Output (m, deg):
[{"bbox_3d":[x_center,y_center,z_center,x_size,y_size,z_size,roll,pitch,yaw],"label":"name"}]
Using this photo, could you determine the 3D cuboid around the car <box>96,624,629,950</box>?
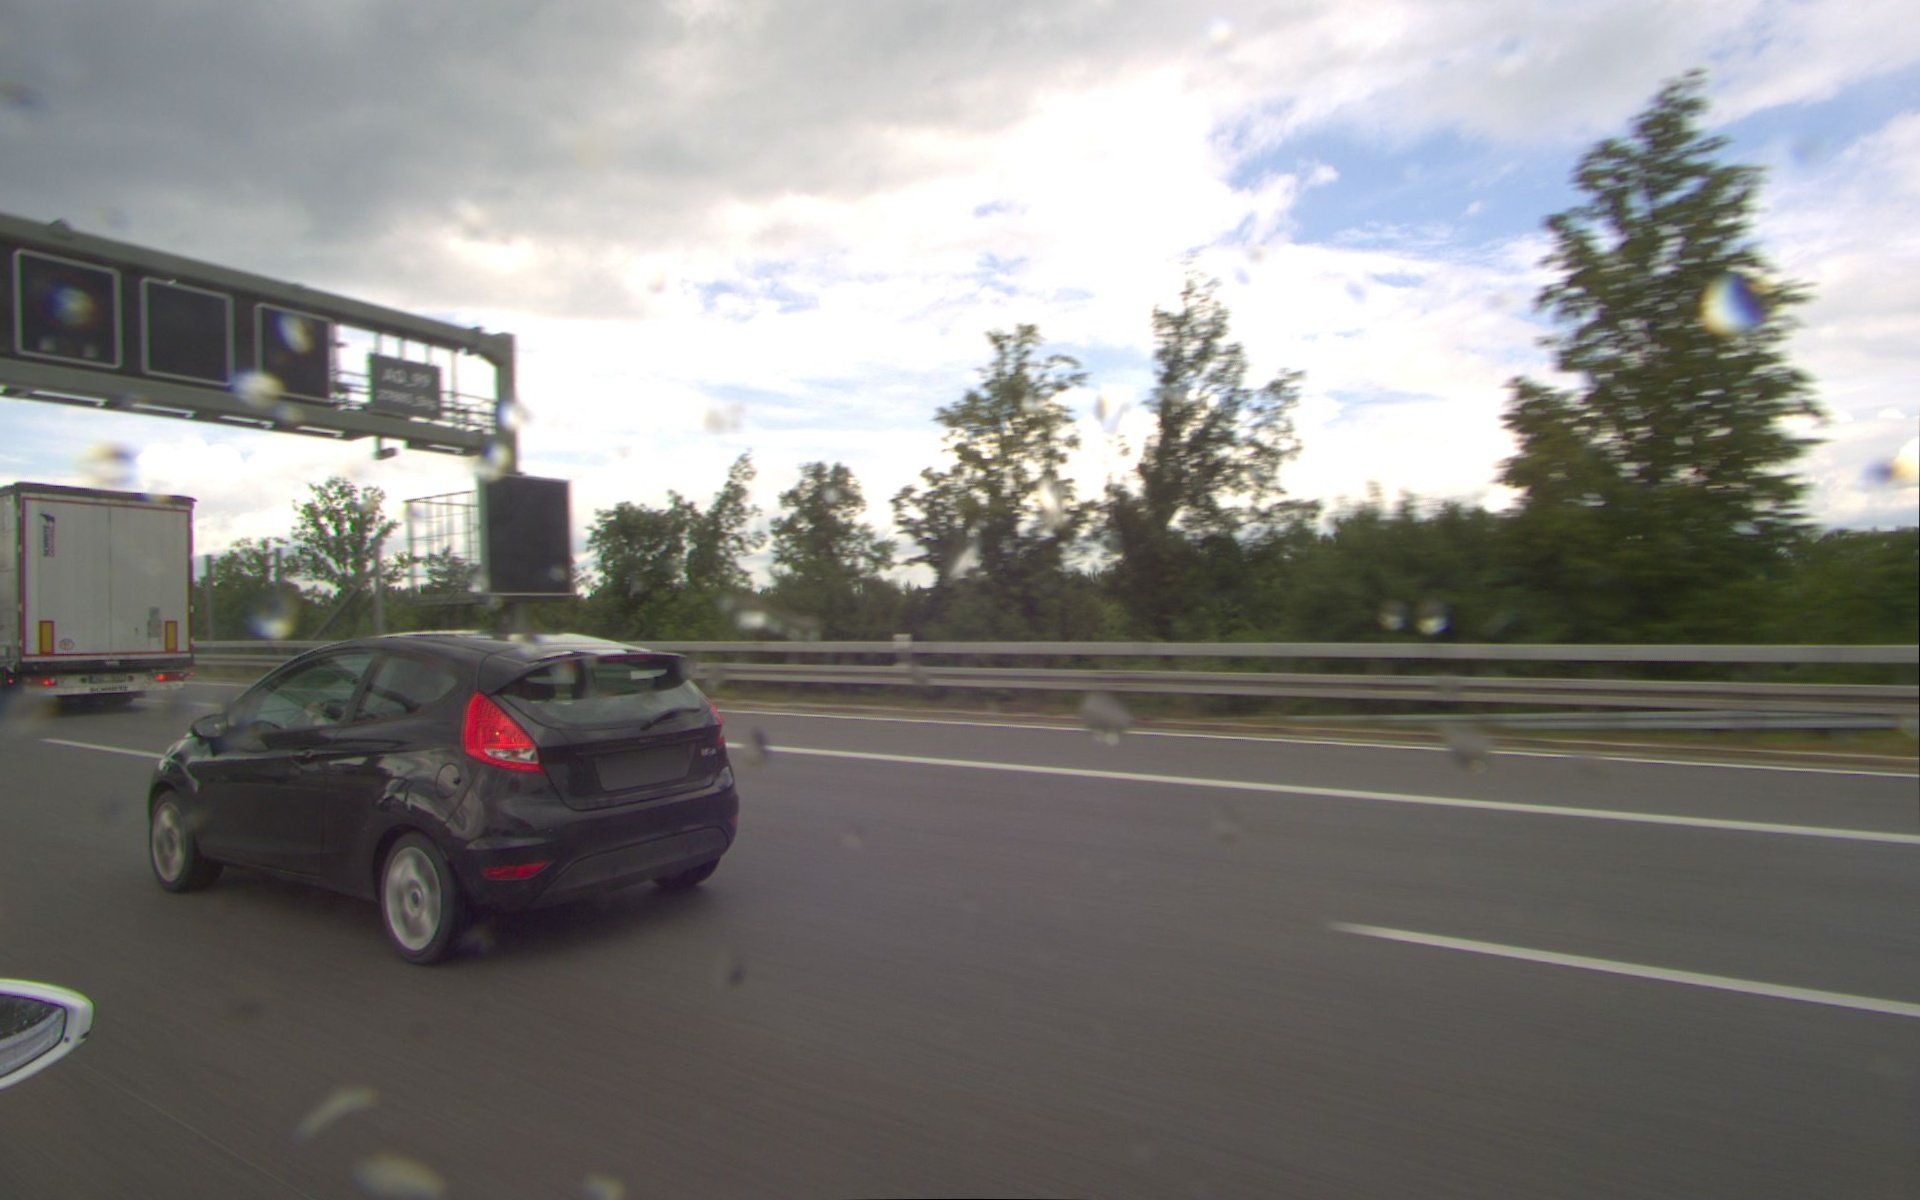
[{"bbox_3d":[-3.600,0.878,5.945,3.118,1.460,1.444,-1,-1,31],"label":"car"}]

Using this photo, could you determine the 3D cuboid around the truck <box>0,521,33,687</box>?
[{"bbox_3d":[-26.655,0.120,25.498,6.495,4.072,2.956,-1,-1,33],"label":"truck"}]

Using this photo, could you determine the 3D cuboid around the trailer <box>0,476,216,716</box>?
[{"bbox_3d":[-21.118,0.036,21.991,13.917,4.072,2.956,-1,-1,33],"label":"trailer"}]
